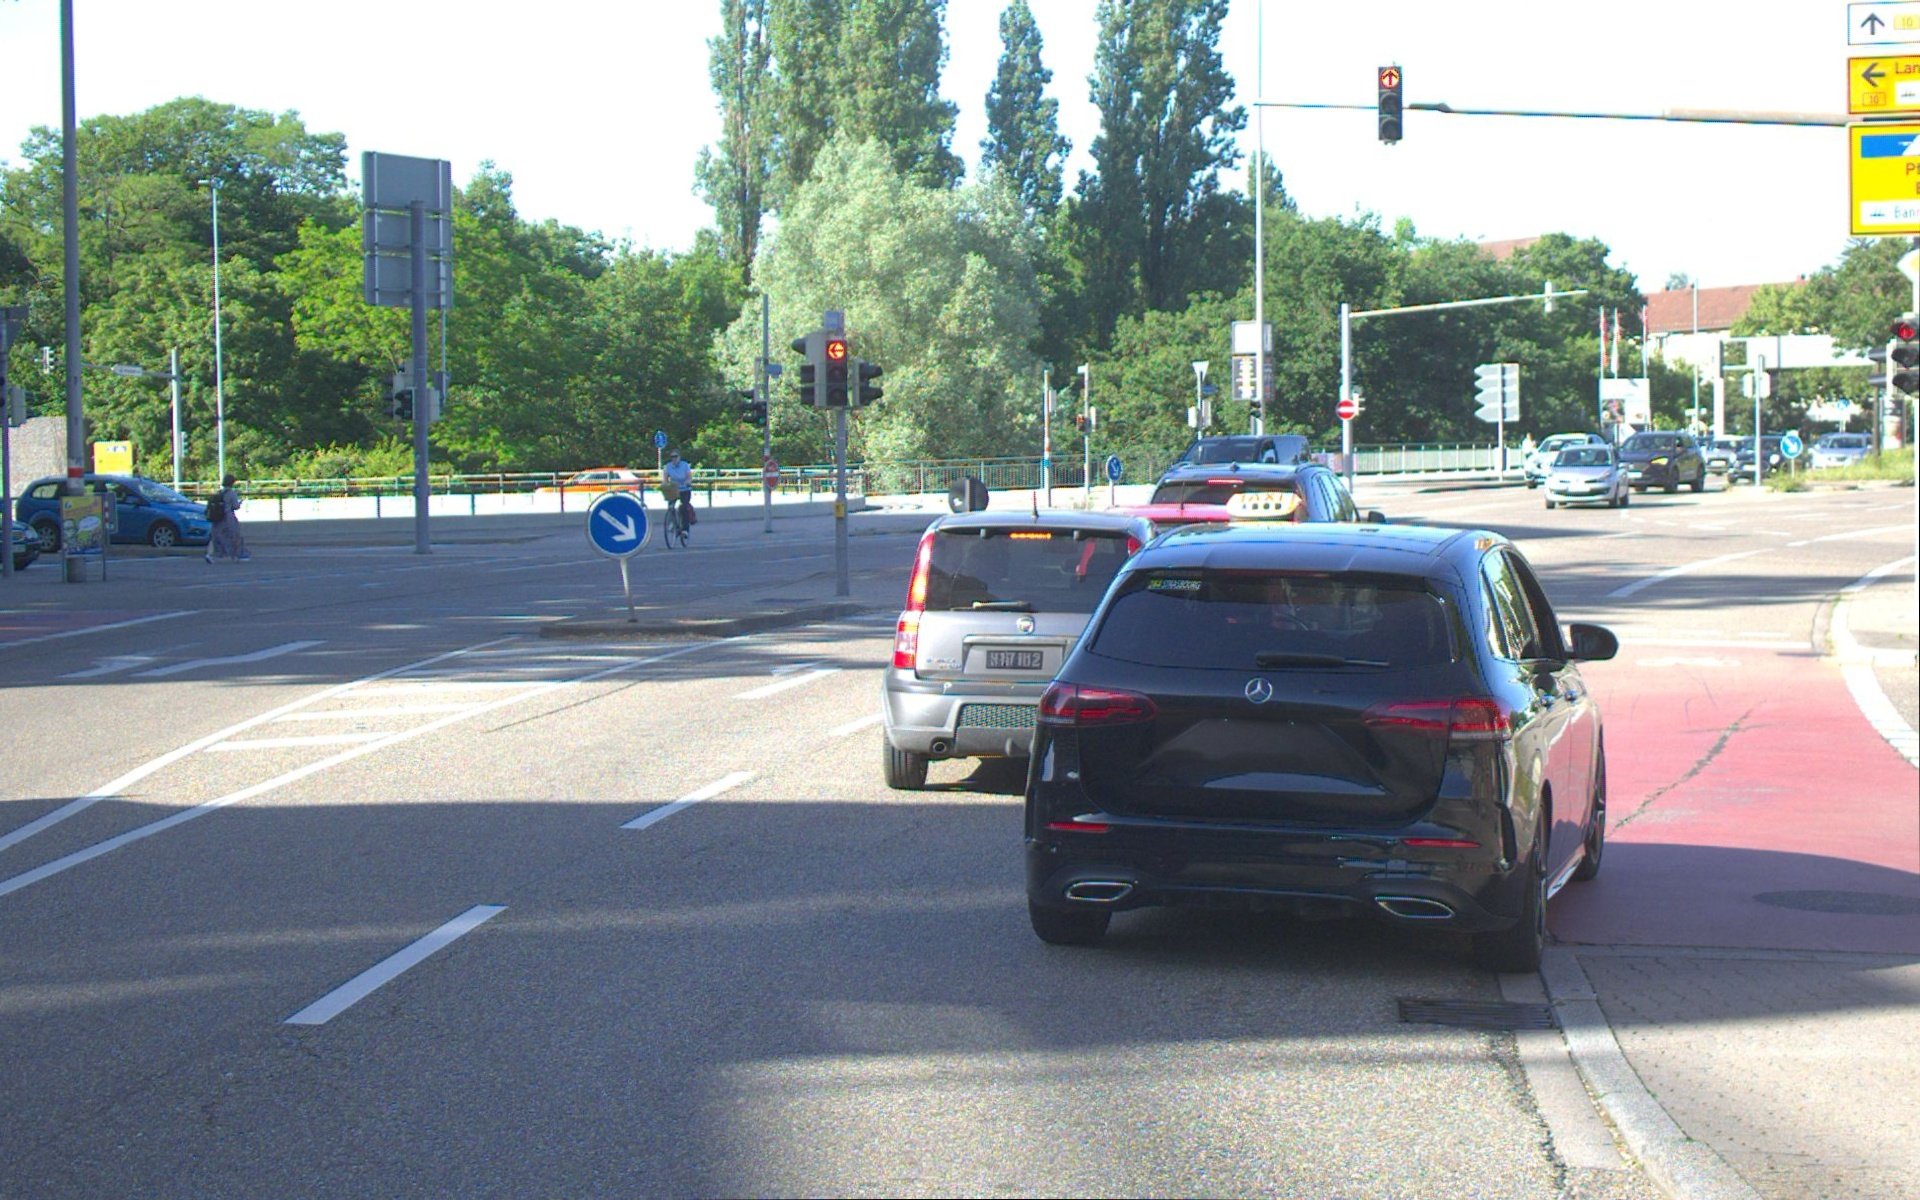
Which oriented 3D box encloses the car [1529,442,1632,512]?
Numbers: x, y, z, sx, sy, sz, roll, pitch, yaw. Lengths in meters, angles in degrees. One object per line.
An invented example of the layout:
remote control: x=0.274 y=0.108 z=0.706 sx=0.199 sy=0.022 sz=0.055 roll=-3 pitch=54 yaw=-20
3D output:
car: x=14.683 y=-2.930 z=81.189 sx=1.822 sy=1.577 sz=4.100 roll=0 pitch=3 yaw=18

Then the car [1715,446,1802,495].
car: x=24.266 y=-3.934 z=104.433 sx=1.996 sy=1.448 sz=3.996 roll=0 pitch=2 yaw=22

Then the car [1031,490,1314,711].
car: x=1.656 y=-0.064 z=25.587 sx=1.820 sy=1.474 sz=3.999 roll=1 pitch=2 yaw=7

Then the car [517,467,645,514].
car: x=-12.895 y=-3.745 z=117.041 sx=3.988 sy=1.543 sz=2.000 roll=0 pitch=3 yaw=7

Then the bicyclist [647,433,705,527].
bicyclist: x=-5.239 y=-2.224 z=63.528 sx=0.687 sy=1.695 sz=1.197 roll=0 pitch=4 yaw=14

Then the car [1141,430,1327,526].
car: x=5.801 y=-2.575 z=72.173 sx=1.997 sy=1.928 sz=4.844 roll=1 pitch=3 yaw=30

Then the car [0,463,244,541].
car: x=-16.338 y=-1.899 z=66.928 sx=4.442 sy=1.433 sz=1.824 roll=0 pitch=3 yaw=23

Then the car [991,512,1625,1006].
car: x=1.490 y=0.457 z=13.204 sx=1.752 sy=1.488 sz=3.998 roll=1 pitch=3 yaw=15

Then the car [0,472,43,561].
car: x=-17.585 y=-1.373 z=57.080 sx=4.443 sy=1.433 sz=1.823 roll=0 pitch=3 yaw=27

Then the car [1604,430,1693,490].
car: x=18.493 y=-3.768 z=92.261 sx=1.725 sy=1.577 sz=4.000 roll=0 pitch=3 yaw=21

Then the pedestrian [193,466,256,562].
pedestrian: x=-12.523 y=-1.456 z=58.538 sx=0.686 sy=1.533 sz=1.366 roll=1 pitch=-3 yaw=3

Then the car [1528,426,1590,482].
car: x=18.368 y=-4.484 z=105.315 sx=1.834 sy=1.647 sz=4.627 roll=-1 pitch=3 yaw=10

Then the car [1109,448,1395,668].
car: x=2.710 y=-0.450 z=30.989 sx=1.870 sy=1.784 sz=4.412 roll=2 pitch=3 yaw=14

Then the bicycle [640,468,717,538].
bicycle: x=-5.202 y=-1.805 z=63.677 sx=0.687 sy=1.198 sz=2.326 roll=0 pitch=4 yaw=14

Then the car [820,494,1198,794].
car: x=0.389 y=0.172 z=19.774 sx=1.820 sy=1.484 sz=4.000 roll=-1 pitch=2 yaw=6
